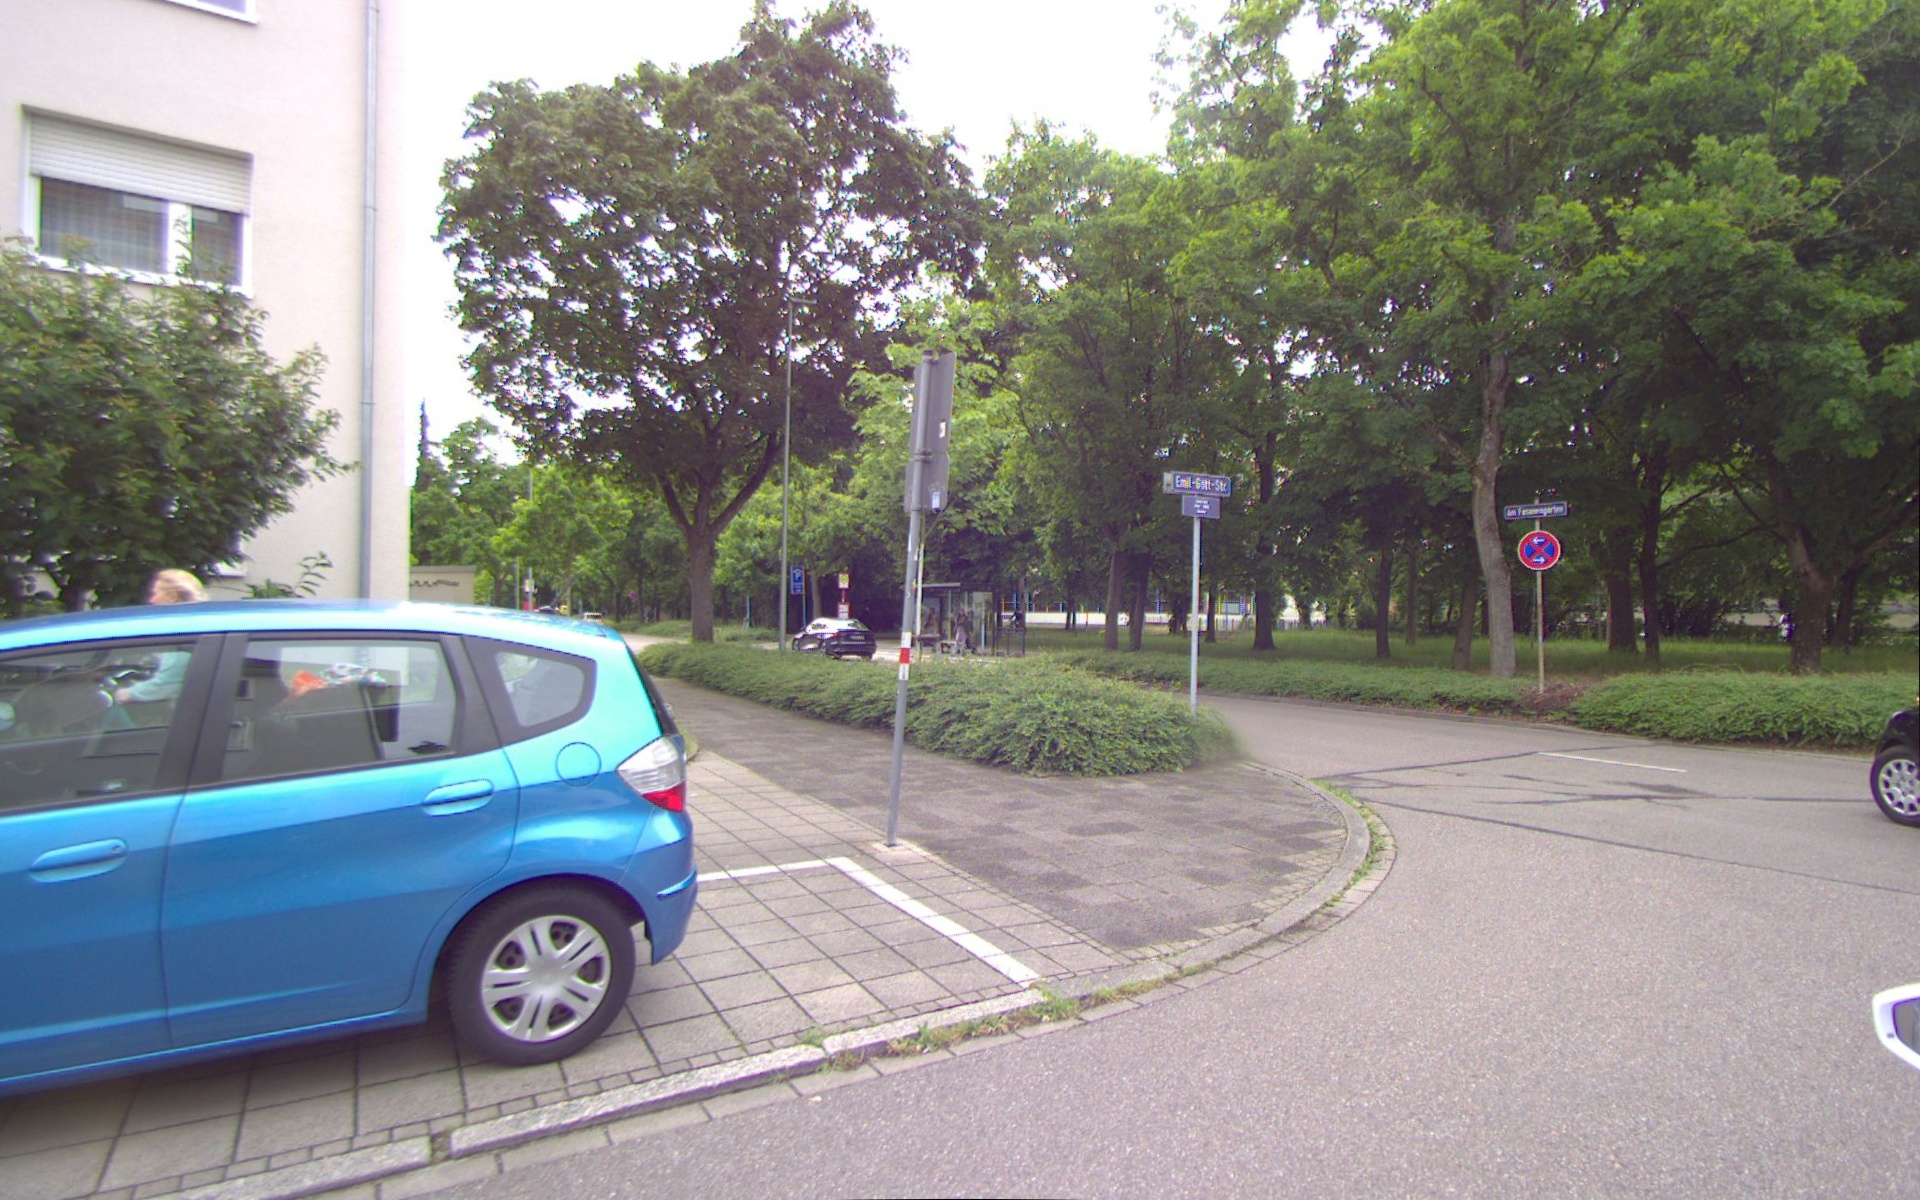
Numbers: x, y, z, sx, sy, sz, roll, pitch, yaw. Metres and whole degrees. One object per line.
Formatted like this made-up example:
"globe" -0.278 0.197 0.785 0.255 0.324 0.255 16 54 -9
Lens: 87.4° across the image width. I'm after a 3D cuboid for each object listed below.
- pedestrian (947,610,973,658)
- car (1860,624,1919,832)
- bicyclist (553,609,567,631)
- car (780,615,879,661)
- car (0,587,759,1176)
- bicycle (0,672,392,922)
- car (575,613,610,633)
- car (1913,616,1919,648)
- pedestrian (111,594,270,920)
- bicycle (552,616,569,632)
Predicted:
"pedestrian" -0.009 1.156 34.486 0.648 1.604 0.693 0 0 -29
"car" 7.349 0.911 6.028 1.817 1.482 3.825 1 -1 25
"bicyclist" -26.780 1.331 67.287 0.777 1.489 0.930 0 0 -29
"car" -4.522 1.264 34.457 1.850 1.482 4.081 1 -1 -32
"car" -2.851 0.730 3.378 3.912 1.482 1.721 1 2 -32
"bicycle" -4.085 0.984 5.366 1.795 1.134 0.534 1 -1 -27
"car" -29.443 1.828 80.395 1.884 1.506 3.966 1 -1 -31
"car" 51.082 1.686 51.866 3.960 1.639 1.981 1 -1 -35
"pedestrian" -3.941 0.763 5.179 0.560 1.570 0.445 1 0 -27
"bicycle" -26.787 1.578 67.305 0.787 1.039 2.545 0 0 -28
